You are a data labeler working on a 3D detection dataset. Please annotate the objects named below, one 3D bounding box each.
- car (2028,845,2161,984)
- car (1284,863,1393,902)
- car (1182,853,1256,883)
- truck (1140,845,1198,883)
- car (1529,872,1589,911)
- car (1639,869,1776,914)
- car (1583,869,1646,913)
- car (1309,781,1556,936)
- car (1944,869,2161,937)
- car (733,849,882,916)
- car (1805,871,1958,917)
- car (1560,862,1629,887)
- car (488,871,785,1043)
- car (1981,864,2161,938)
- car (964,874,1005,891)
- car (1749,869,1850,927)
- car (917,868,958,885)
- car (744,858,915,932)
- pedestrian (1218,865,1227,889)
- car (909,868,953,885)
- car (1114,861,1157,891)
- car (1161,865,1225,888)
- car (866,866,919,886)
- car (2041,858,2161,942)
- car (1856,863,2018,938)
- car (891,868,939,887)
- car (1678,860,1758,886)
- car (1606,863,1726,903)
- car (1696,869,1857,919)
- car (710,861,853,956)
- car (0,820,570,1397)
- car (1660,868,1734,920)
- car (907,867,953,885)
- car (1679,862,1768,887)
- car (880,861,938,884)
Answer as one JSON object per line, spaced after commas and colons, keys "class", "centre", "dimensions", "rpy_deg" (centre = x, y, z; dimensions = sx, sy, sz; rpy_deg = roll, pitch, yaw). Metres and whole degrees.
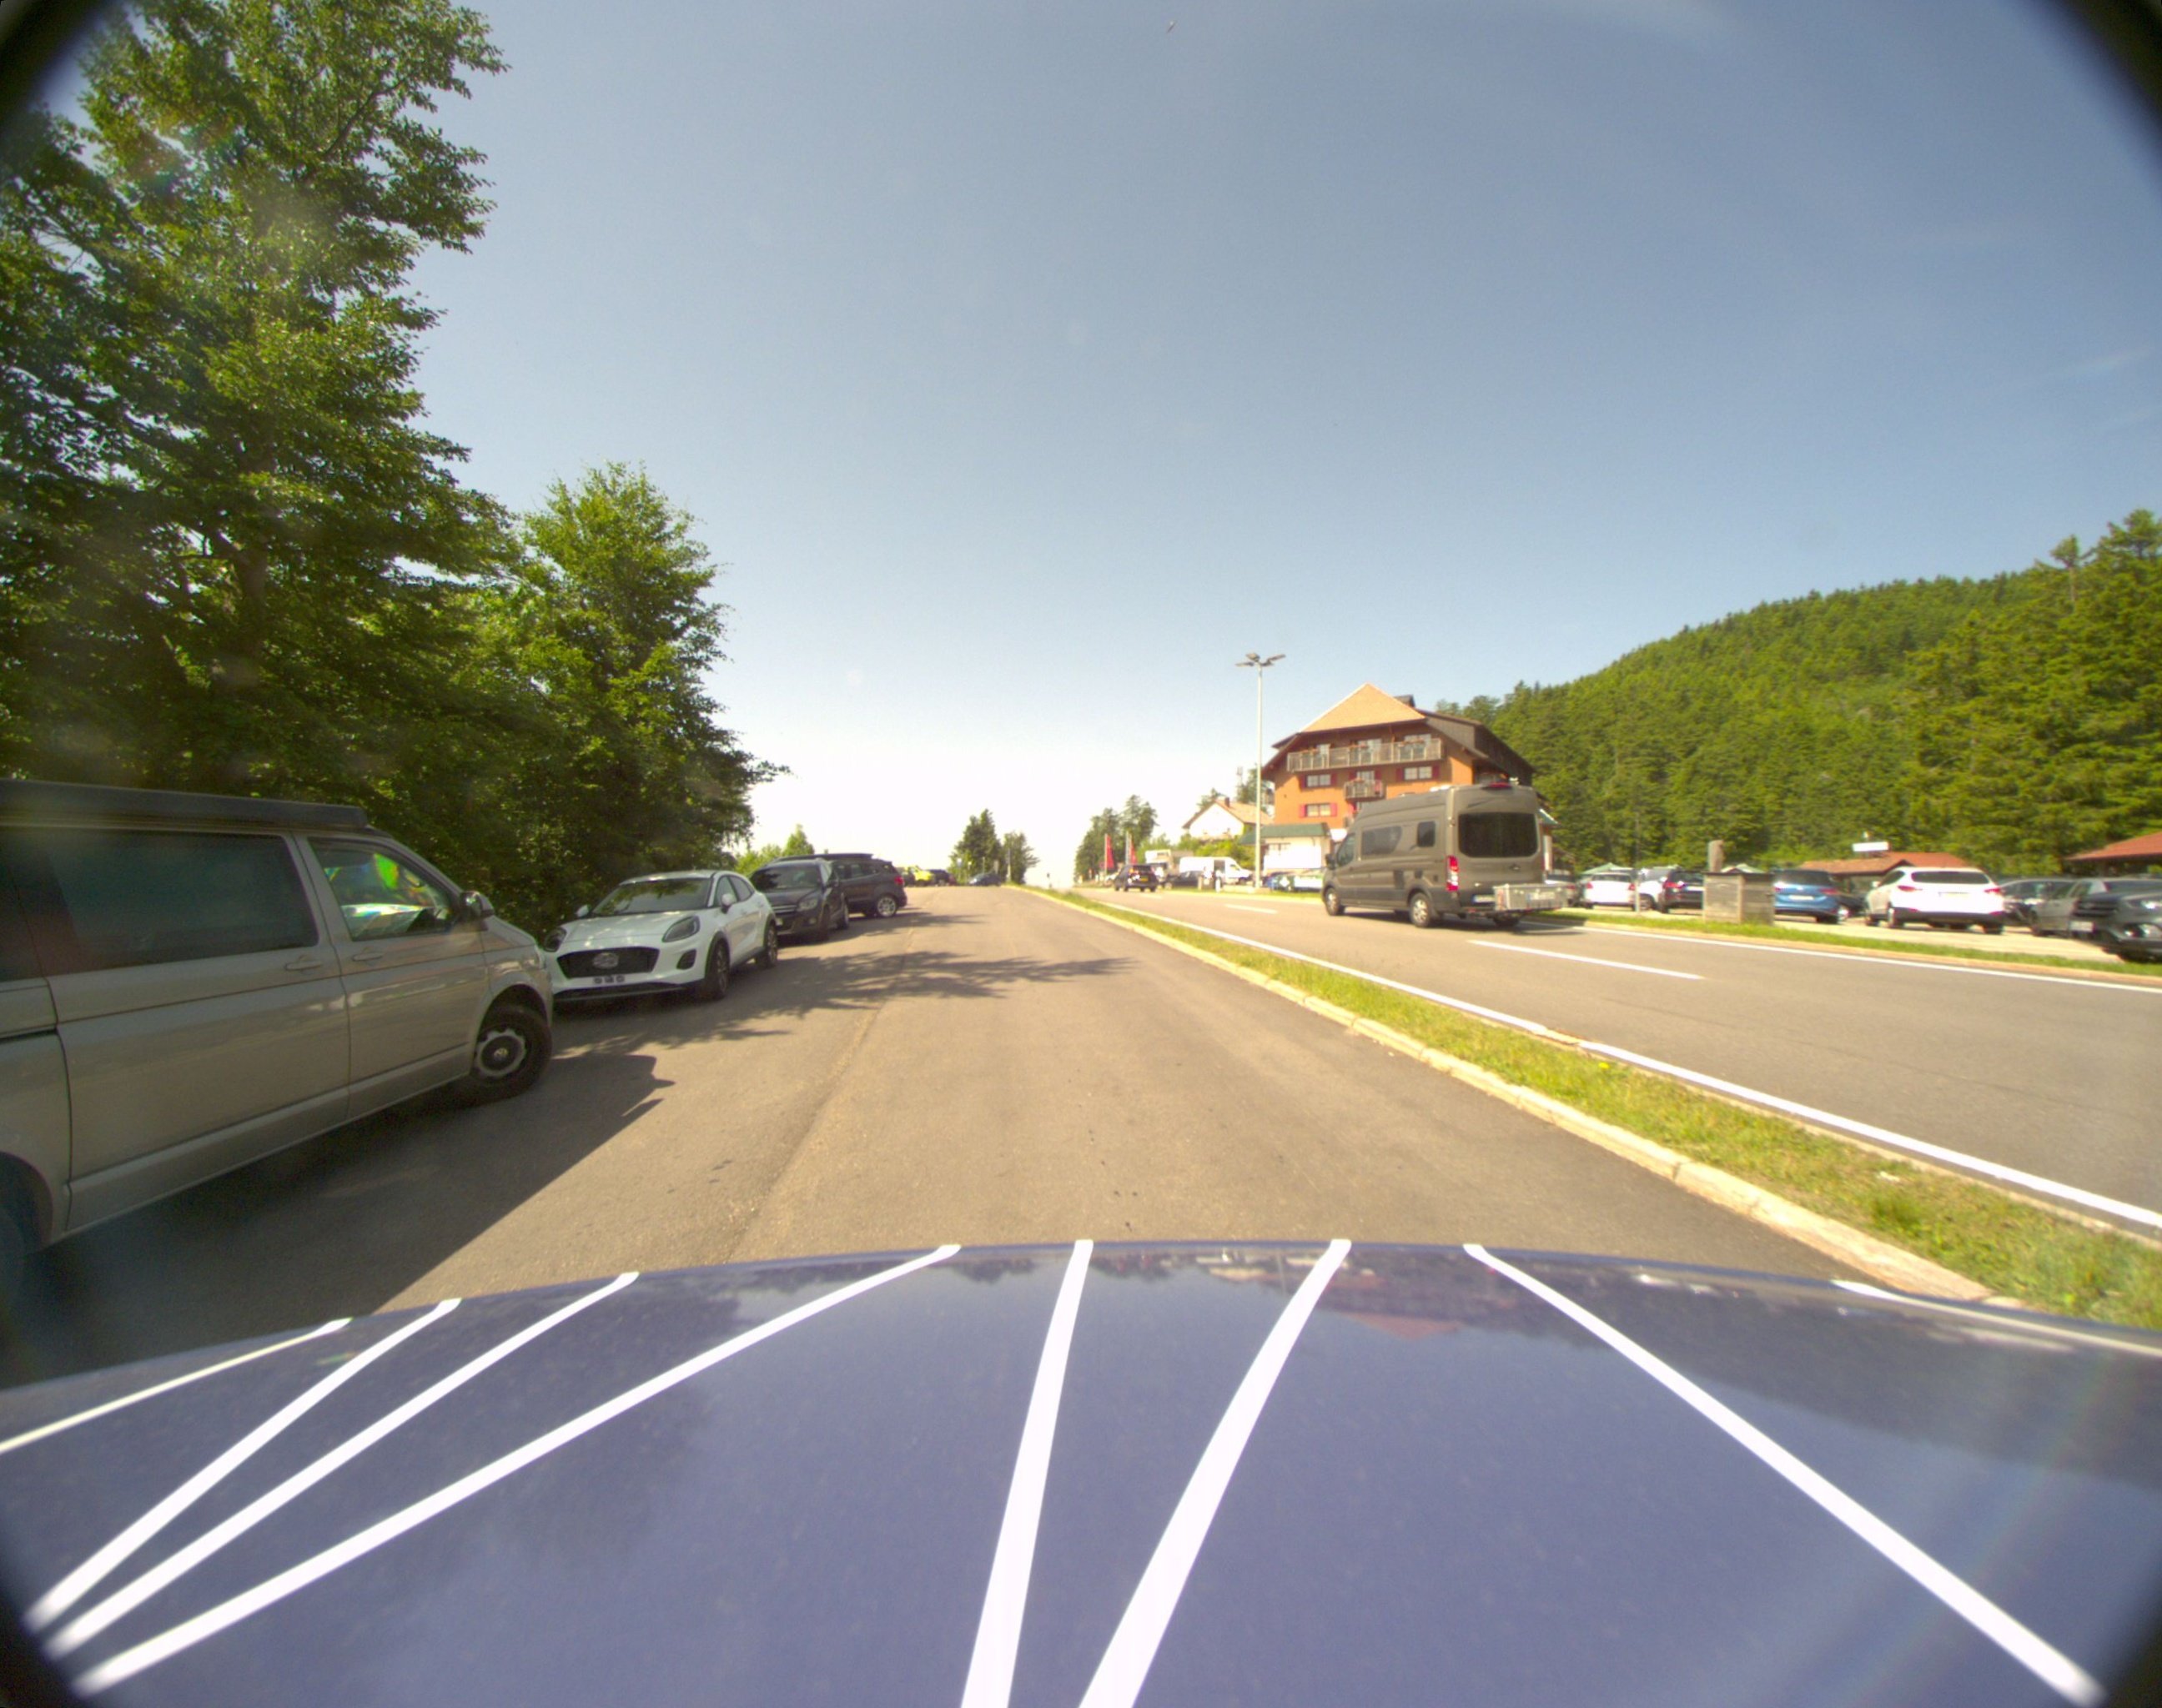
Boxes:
{"class": "car", "centre": [14.749, 0.738, 8.710], "dimensions": [4.539, 1.646, 1.726], "rpy_deg": [0, 0, 33]}
{"class": "car", "centre": [11.545, 1.231, 34.147], "dimensions": [4.259, 1.619, 1.828], "rpy_deg": [0, 0, 34]}
{"class": "car", "centre": [13.473, 1.353, 74.210], "dimensions": [6.954, 2.774, 2.669], "rpy_deg": [0, 0, 10]}
{"class": "truck", "centre": [9.500, 1.111, 80.994], "dimensions": [2.877, 3.798, 9.035], "rpy_deg": [-2, -1, 29]}
{"class": "car", "centre": [20.447, 1.531, 32.423], "dimensions": [1.819, 1.504, 4.104], "rpy_deg": [1, 0, 37]}
{"class": "car", "centre": [25.125, 1.446, 30.674], "dimensions": [4.083, 1.619, 1.828], "rpy_deg": [0, 0, 34]}
{"class": "car", "centre": [20.401, 1.348, 28.977], "dimensions": [1.819, 1.504, 4.104], "rpy_deg": [1, 0, 37]}
{"class": "car", "centre": [7.165, 0.109, 16.467], "dimensions": [2.018, 2.735, 5.913], "rpy_deg": [0, 0, -7]}
{"class": "car", "centre": [27.238, 1.293, 20.989], "dimensions": [4.083, 1.705, 1.924], "rpy_deg": [0, 0, 32]}
{"class": "car", "centre": [-9.297, 0.920, 25.866], "dimensions": [4.466, 1.914, 1.872], "rpy_deg": [-3, 0, -28]}
{"class": "car", "centre": [33.551, 1.634, 32.015], "dimensions": [4.083, 1.705, 1.924], "rpy_deg": [0, 0, 32]}
{"class": "car", "centre": [37.709, 1.493, 55.812], "dimensions": [4.083, 1.705, 1.925], "rpy_deg": [0, 0, 35]}
{"class": "car", "centre": [-5.260, 1.078, 9.698], "dimensions": [1.876, 1.538, 3.997], "rpy_deg": [-3, 0, -9]}
{"class": "car", "centre": [25.765, 1.137, 18.841], "dimensions": [4.083, 1.705, 1.925], "rpy_deg": [0, 0, 35]}
{"class": "car", "centre": [-9.698, 2.848, 76.509], "dimensions": [1.871, 1.605, 3.921], "rpy_deg": [0, 0, 35]}
{"class": "car", "centre": [22.249, 1.283, 23.693], "dimensions": [1.819, 1.619, 4.104], "rpy_deg": [1, 0, 37]}
{"class": "car", "centre": [-14.324, 2.261, 76.134], "dimensions": [3.912, 1.605, 1.875], "rpy_deg": [0, 0, -6]}
{"class": "car", "centre": [-6.715, 1.032, 20.310], "dimensions": [4.005, 1.609, 1.872], "rpy_deg": [-3, 0, -28]}
{"class": "pedestrian", "centre": [10.872, 1.770, 58.433], "dimensions": [0.673, 1.853, 0.752], "rpy_deg": [0, 0, 10]}
{"class": "car", "centre": [-14.171, 2.111, 72.065], "dimensions": [3.912, 1.605, 1.875], "rpy_deg": [0, 0, -6]}
{"class": "car", "centre": [3.231, 1.275, 45.477], "dimensions": [1.722, 1.672, 4.127], "rpy_deg": [0, 0, -8]}
{"class": "car", "centre": [7.986, 1.576, 54.245], "dimensions": [4.083, 1.518, 1.828], "rpy_deg": [0, 0, 30]}
{"class": "car", "centre": [-14.953, 1.742, 60.457], "dimensions": [3.912, 1.605, 1.875], "rpy_deg": [0, 0, -6]}
{"class": "car", "centre": [23.515, 0.971, 15.748], "dimensions": [4.083, 1.705, 1.925], "rpy_deg": [0, 0, 35]}
{"class": "car", "centre": [22.209, 1.119, 19.925], "dimensions": [1.915, 1.705, 4.104], "rpy_deg": [1, 0, 35]}
{"class": "car", "centre": [-14.513, 2.044, 66.514], "dimensions": [3.912, 1.605, 1.875], "rpy_deg": [0, 0, -6]}
{"class": "car", "centre": [43.941, 1.301, 52.520], "dimensions": [4.083, 1.705, 1.925], "rpy_deg": [0, 0, 35]}
{"class": "car", "centre": [25.759, 1.222, 33.662], "dimensions": [4.083, 1.619, 1.828], "rpy_deg": [0, 0, 34]}
{"class": "car", "centre": [25.009, 1.376, 27.545], "dimensions": [4.083, 1.619, 1.828], "rpy_deg": [0, 0, 34]}
{"class": "car", "centre": [-6.066, 1.005, 15.889], "dimensions": [1.876, 1.609, 3.997], "rpy_deg": [-3, 0, -9]}
{"class": "car", "centre": [-4.667, 0.908, 3.409], "dimensions": [1.862, 1.924, 4.607], "rpy_deg": [-4, 0, -5]}
{"class": "car", "centre": [21.069, 1.295, 26.132], "dimensions": [1.819, 1.619, 4.104], "rpy_deg": [1, 0, 37]}
{"class": "car", "centre": [-13.781, 1.988, 69.486], "dimensions": [3.912, 1.605, 1.875], "rpy_deg": [0, 0, -6]}
{"class": "car", "centre": [46.804, 1.451, 55.496], "dimensions": [4.832, 1.705, 1.925], "rpy_deg": [0, 0, 35]}
{"class": "car", "centre": [-14.290, 1.532, 63.298], "dimensions": [4.459, 1.914, 1.875], "rpy_deg": [0, 0, -6]}
